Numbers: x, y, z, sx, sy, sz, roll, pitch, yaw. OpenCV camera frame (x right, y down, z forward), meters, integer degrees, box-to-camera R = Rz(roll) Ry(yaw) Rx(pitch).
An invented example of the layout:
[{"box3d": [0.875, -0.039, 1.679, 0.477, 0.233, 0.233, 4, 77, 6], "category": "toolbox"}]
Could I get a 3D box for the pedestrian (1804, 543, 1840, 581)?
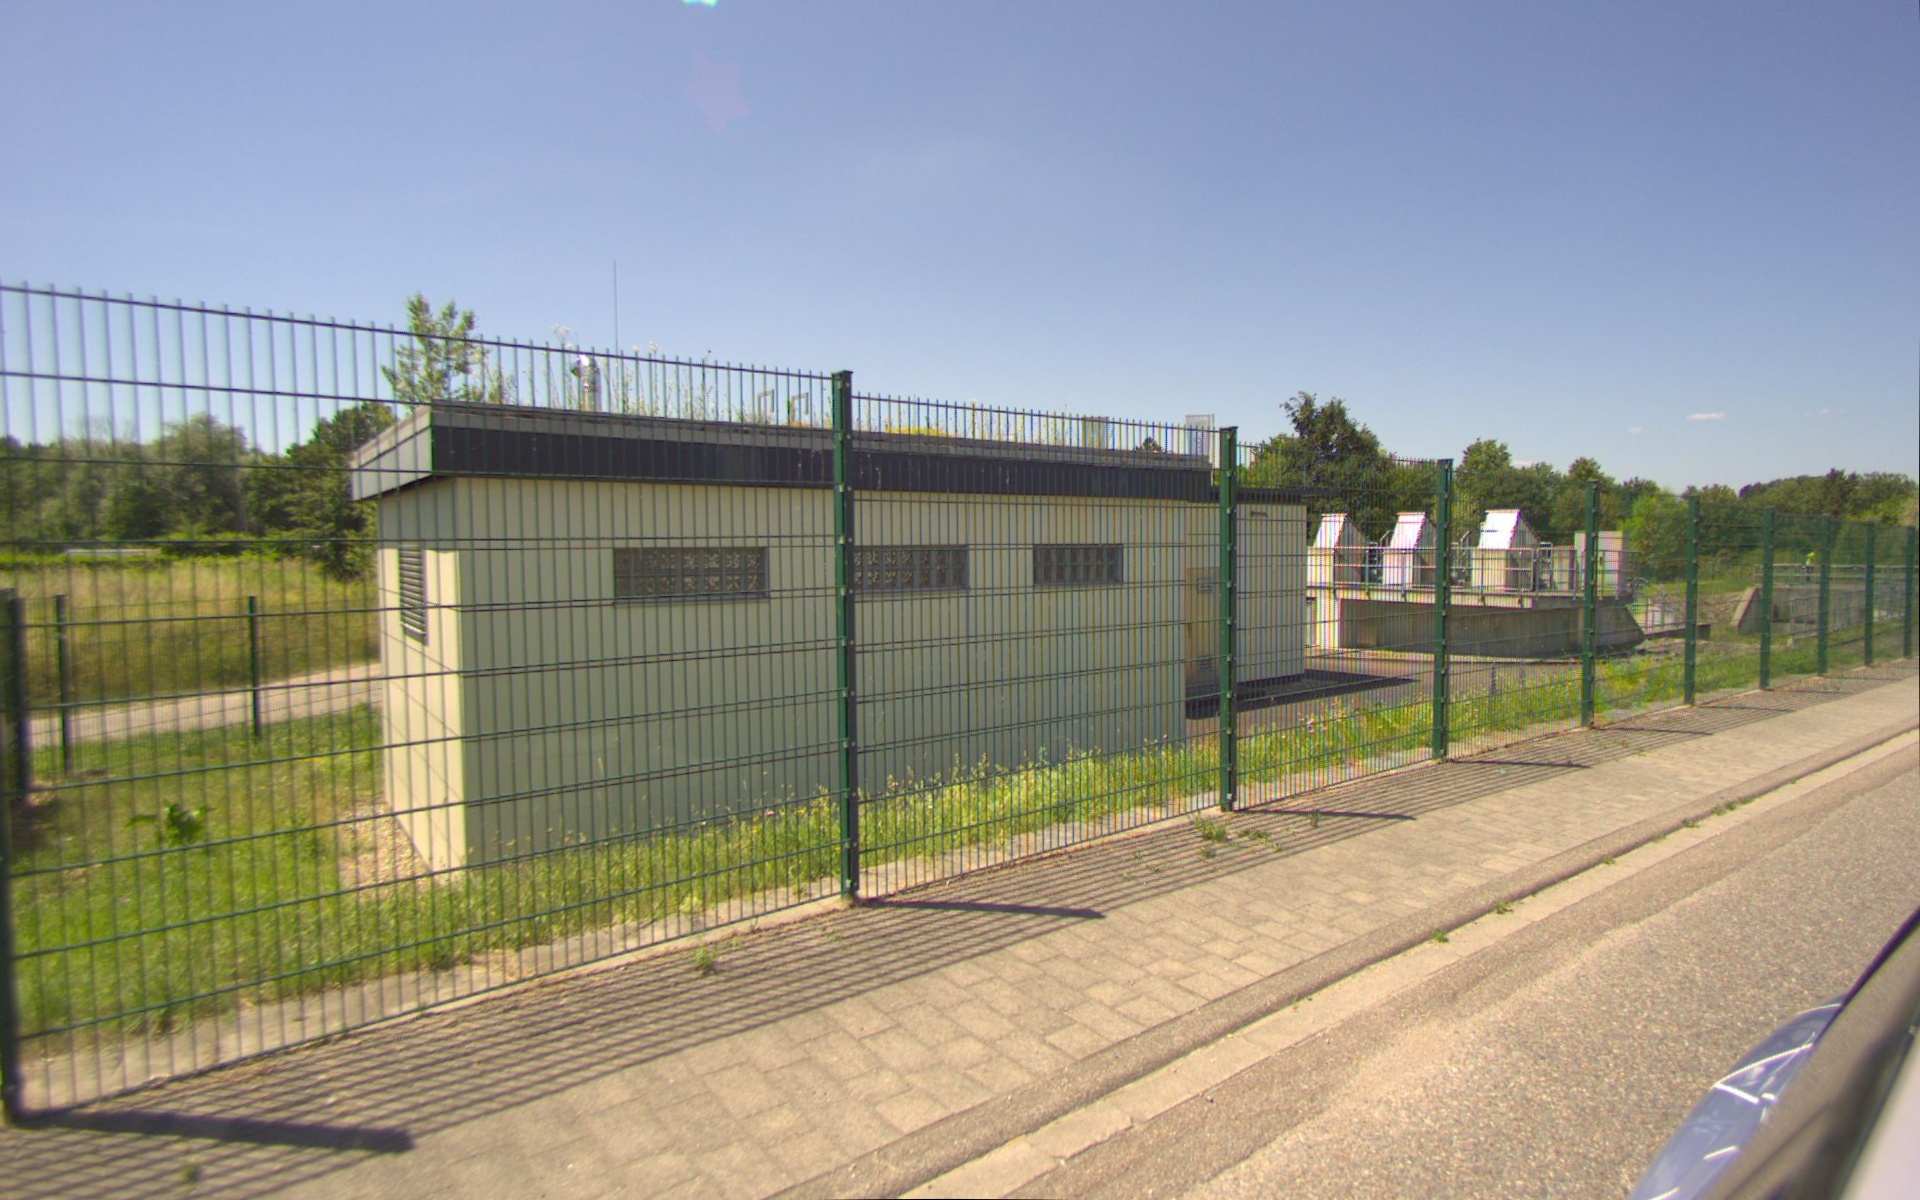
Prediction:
[{"box3d": [47.118, -2.072, 55.323, 1.194, 2.038, 1.305, -1, 1, -38], "category": "pedestrian"}]
